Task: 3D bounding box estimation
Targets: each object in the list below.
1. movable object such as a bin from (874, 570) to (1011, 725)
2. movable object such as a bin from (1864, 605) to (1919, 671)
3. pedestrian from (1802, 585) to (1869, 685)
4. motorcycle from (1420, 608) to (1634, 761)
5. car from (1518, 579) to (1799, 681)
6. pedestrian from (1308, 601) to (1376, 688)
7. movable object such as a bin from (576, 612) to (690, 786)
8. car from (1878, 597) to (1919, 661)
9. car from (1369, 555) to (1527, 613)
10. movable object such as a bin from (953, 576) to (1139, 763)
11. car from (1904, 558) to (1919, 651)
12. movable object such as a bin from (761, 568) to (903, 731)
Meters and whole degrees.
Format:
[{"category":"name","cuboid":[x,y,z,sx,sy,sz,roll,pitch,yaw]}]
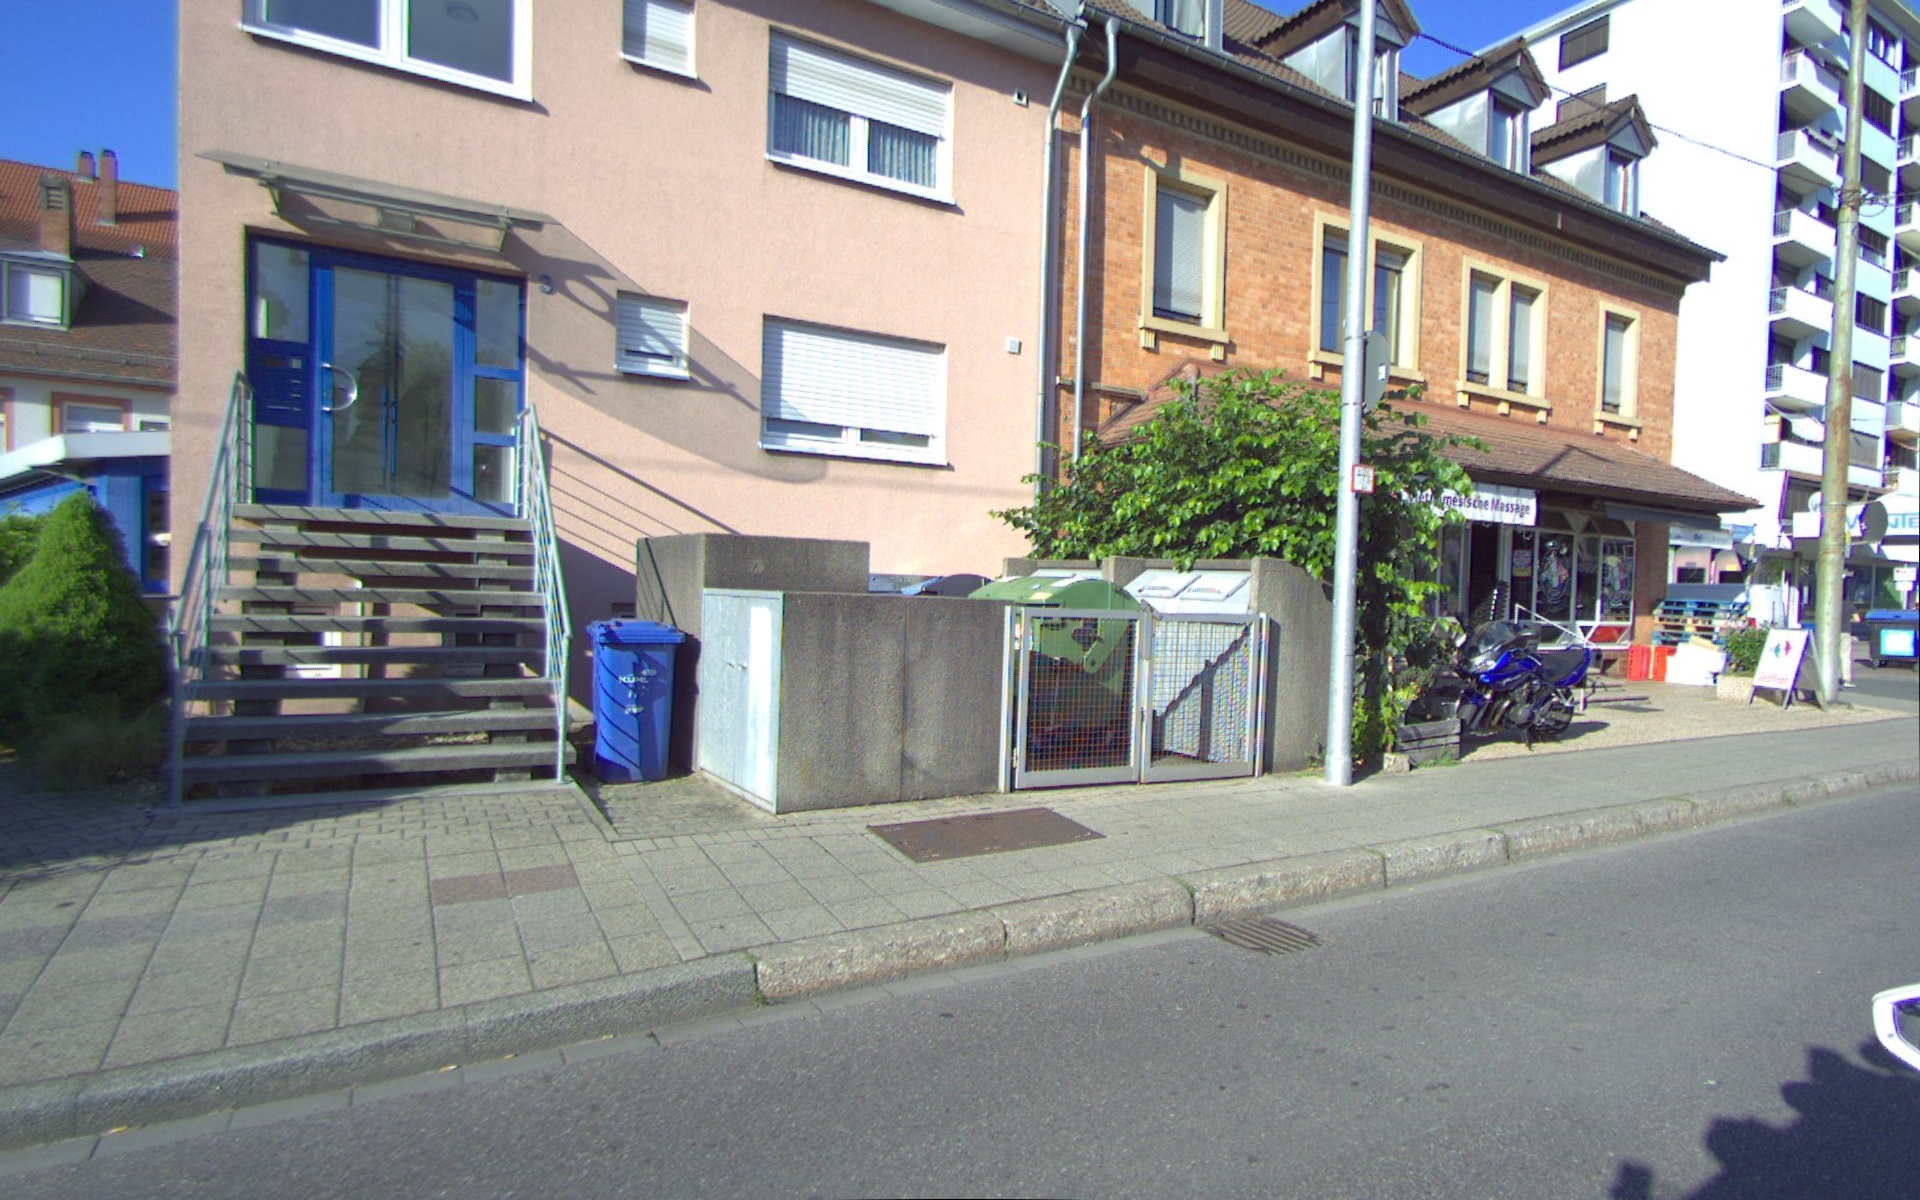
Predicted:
[{"category":"movable object such as a bin","cuboid":[-0.180,0.442,10.085,1.031,1.449,0.916,1,1,-32]},{"category":"movable object such as a bin","cuboid":[22.923,0.914,24.476,0.696,1.503,1.170,-3,3,-34]},{"category":"pedestrian","cuboid":[17.189,0.670,19.731,0.788,1.893,0.811,0,2,-38]},{"category":"motorcycle","cuboid":[5.507,0.759,9.718,2.208,1.299,0.834,1,2,-33]},{"category":"car","cuboid":[14.949,0.543,21.782,1.977,1.959,4.590,1,1,-31]},{"category":"pedestrian","cuboid":[5.114,0.584,13.471,0.625,1.124,0.560,1,1,-29]},{"category":"movable object such as a bin","cuboid":[-2.247,0.639,6.869,0.594,1.080,0.755,1,1,-29]},{"category":"car","cuboid":[25.760,0.807,25.128,1.760,1.589,3.948,-1,3,-43]},{"category":"car","cuboid":[15.136,-0.506,31.346,1.977,1.545,3.969,6,-1,-29]},{"category":"movable object such as a bin","cuboid":[0.708,0.531,8.580,0.981,1.449,1.299,1,1,-33]},{"category":"car","cuboid":[28.441,0.214,26.432,4.994,2.503,2.099,3,2,39]},{"category":"movable object such as a bin","cuboid":[-1.227,0.436,9.574,1.031,1.449,0.916,1,1,-32]}]
